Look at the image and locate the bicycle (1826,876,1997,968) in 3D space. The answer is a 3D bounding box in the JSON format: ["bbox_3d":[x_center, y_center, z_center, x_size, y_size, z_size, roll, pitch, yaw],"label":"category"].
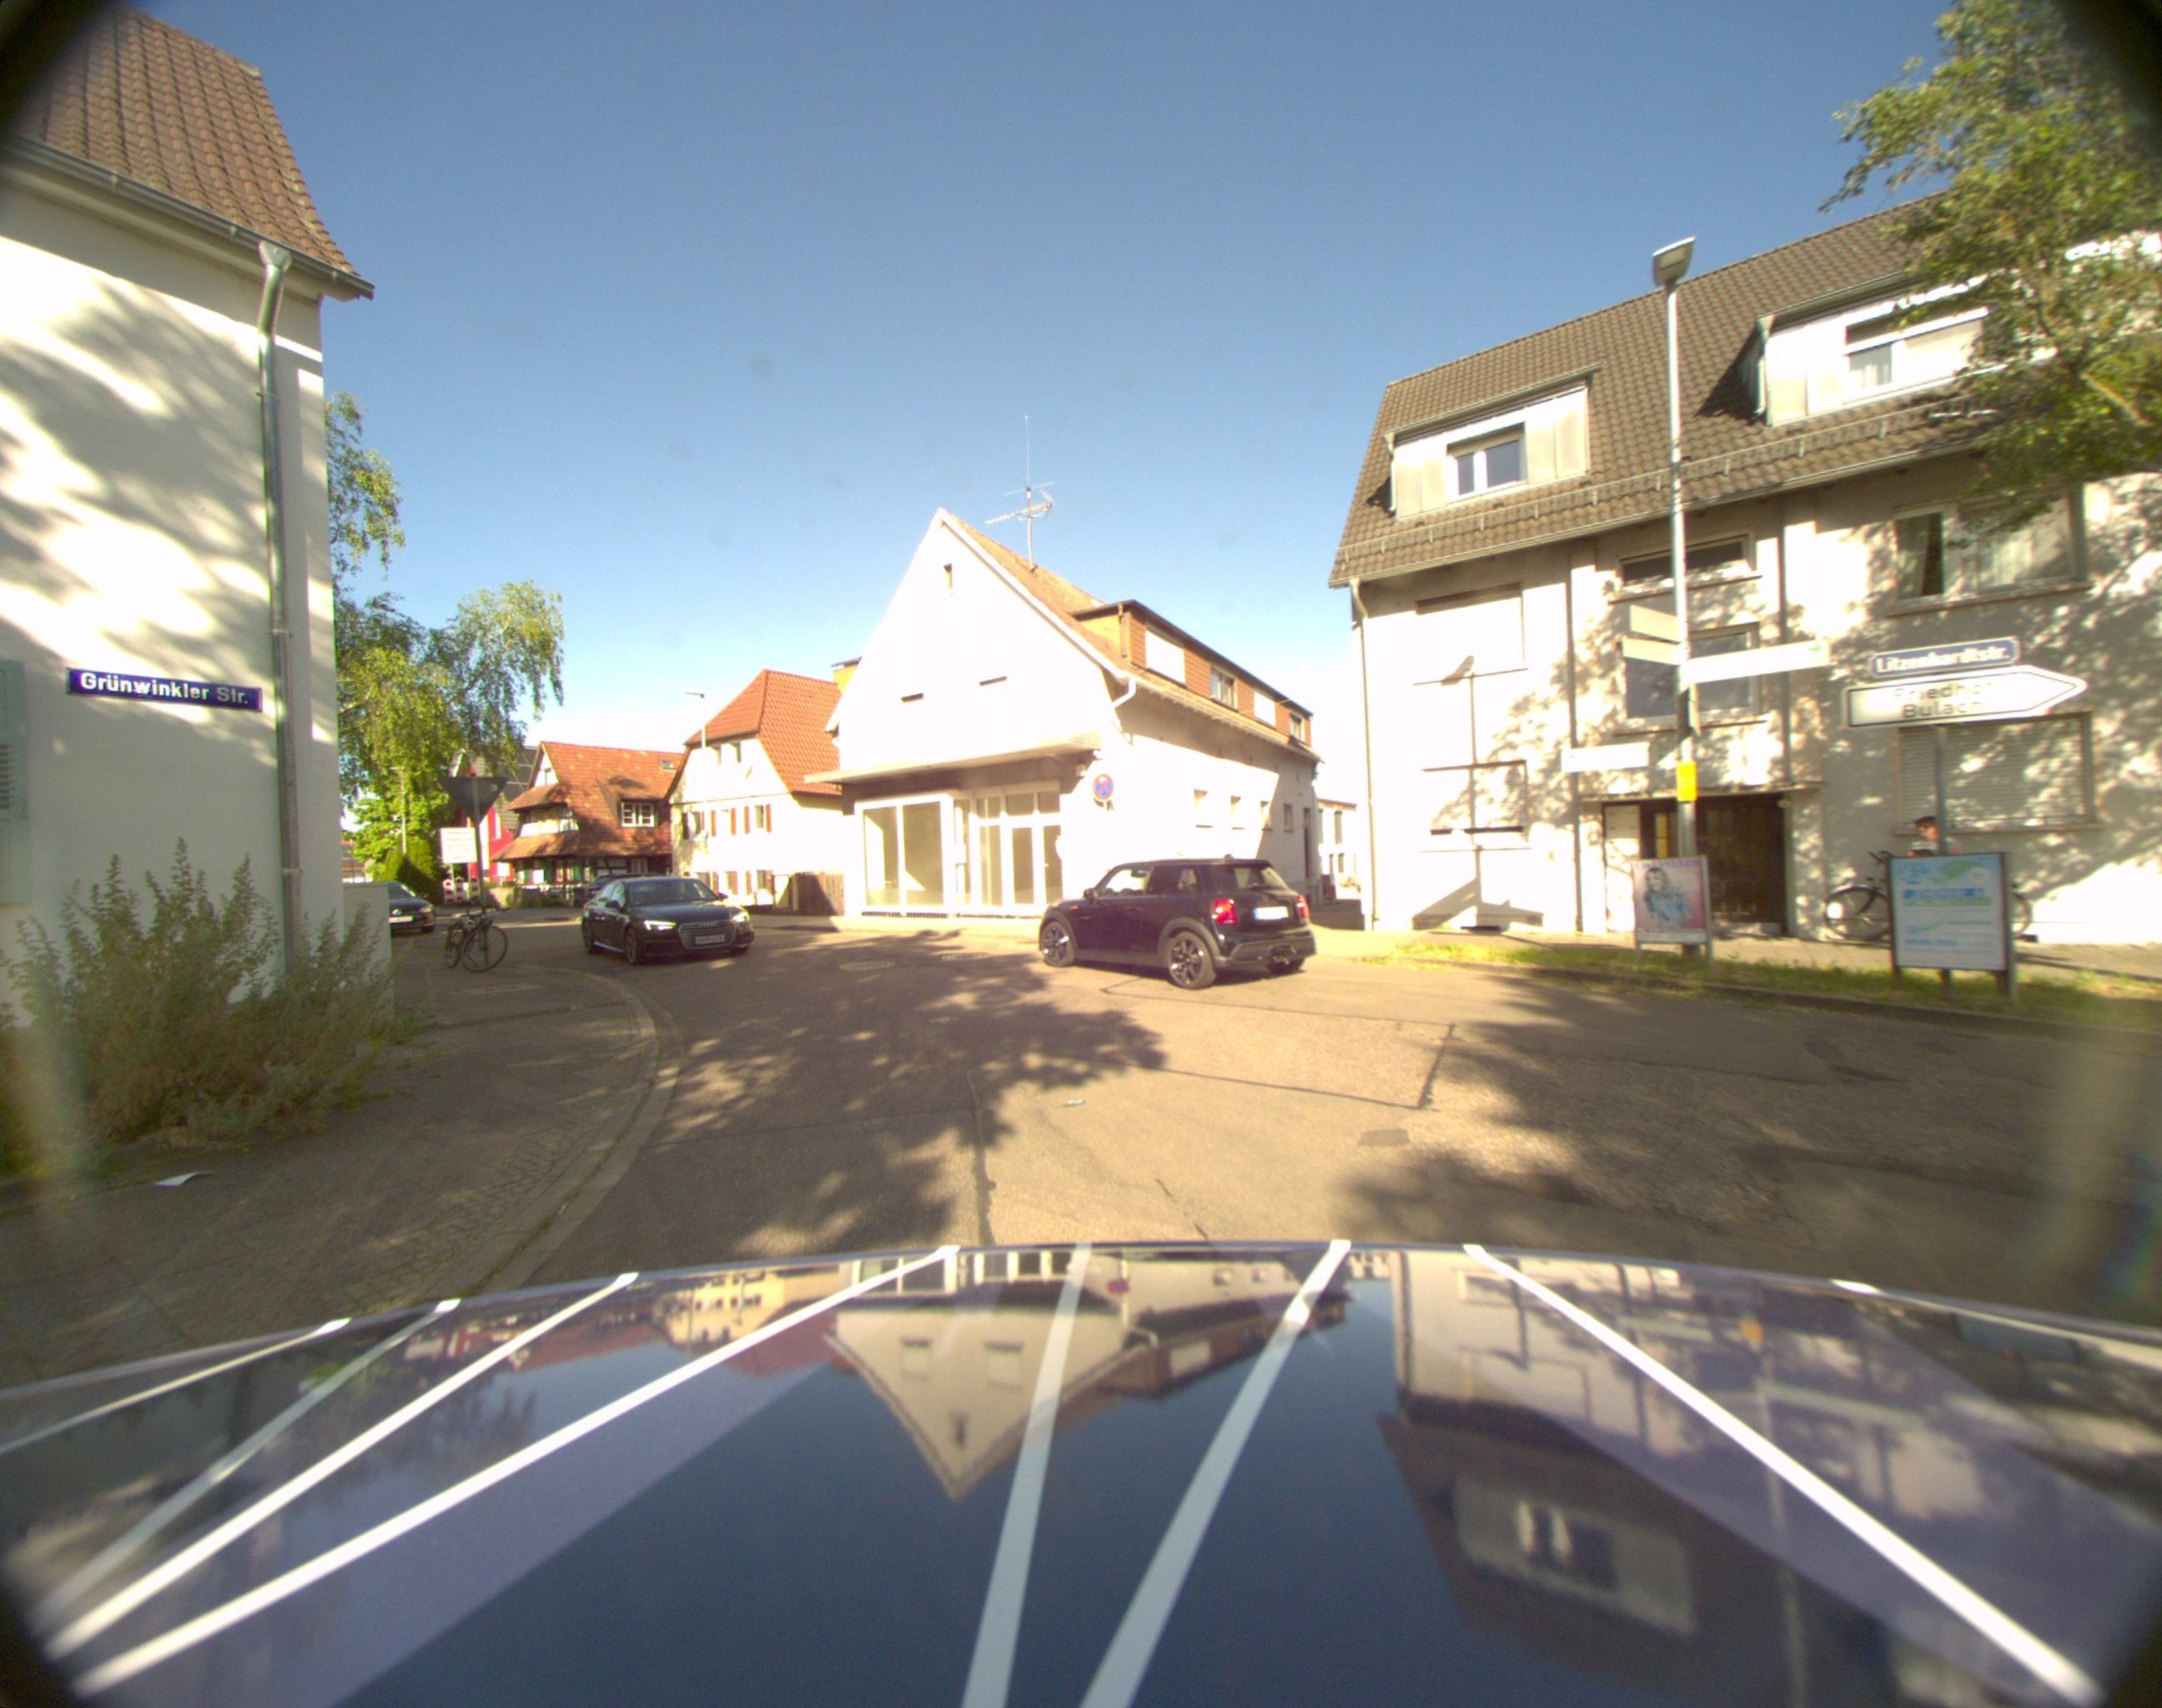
[{"bbox_3d":[10.345,0.822,9.526,1.377,1.046,0.425,0,1,36],"label":"bicycle"}]

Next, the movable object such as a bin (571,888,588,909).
[{"bbox_3d":[-21.320,1.878,32.288,0.587,0.892,0.554,1,-2,-36],"label":"movable object such as a bin"}]

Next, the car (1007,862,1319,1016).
[{"bbox_3d":[0.800,0.889,9.601,1.668,1.469,3.990,-2,0,-35],"label":"car"}]

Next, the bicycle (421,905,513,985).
[{"bbox_3d":[-9.180,1.326,11.329,1.885,1.073,0.437,-1,0,31],"label":"bicycle"}]

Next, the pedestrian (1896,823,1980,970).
[{"bbox_3d":[10.210,0.481,9.073,0.555,1.683,0.486,1,3,39],"label":"pedestrian"}]

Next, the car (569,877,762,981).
[{"bbox_3d":[-7.453,1.181,13.408,1.812,1.469,4.332,-2,0,-45],"label":"car"}]

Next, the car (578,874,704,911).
[{"bbox_3d":[-18.238,1.572,31.678,1.843,1.453,4.181,-2,-2,30],"label":"car"}]
